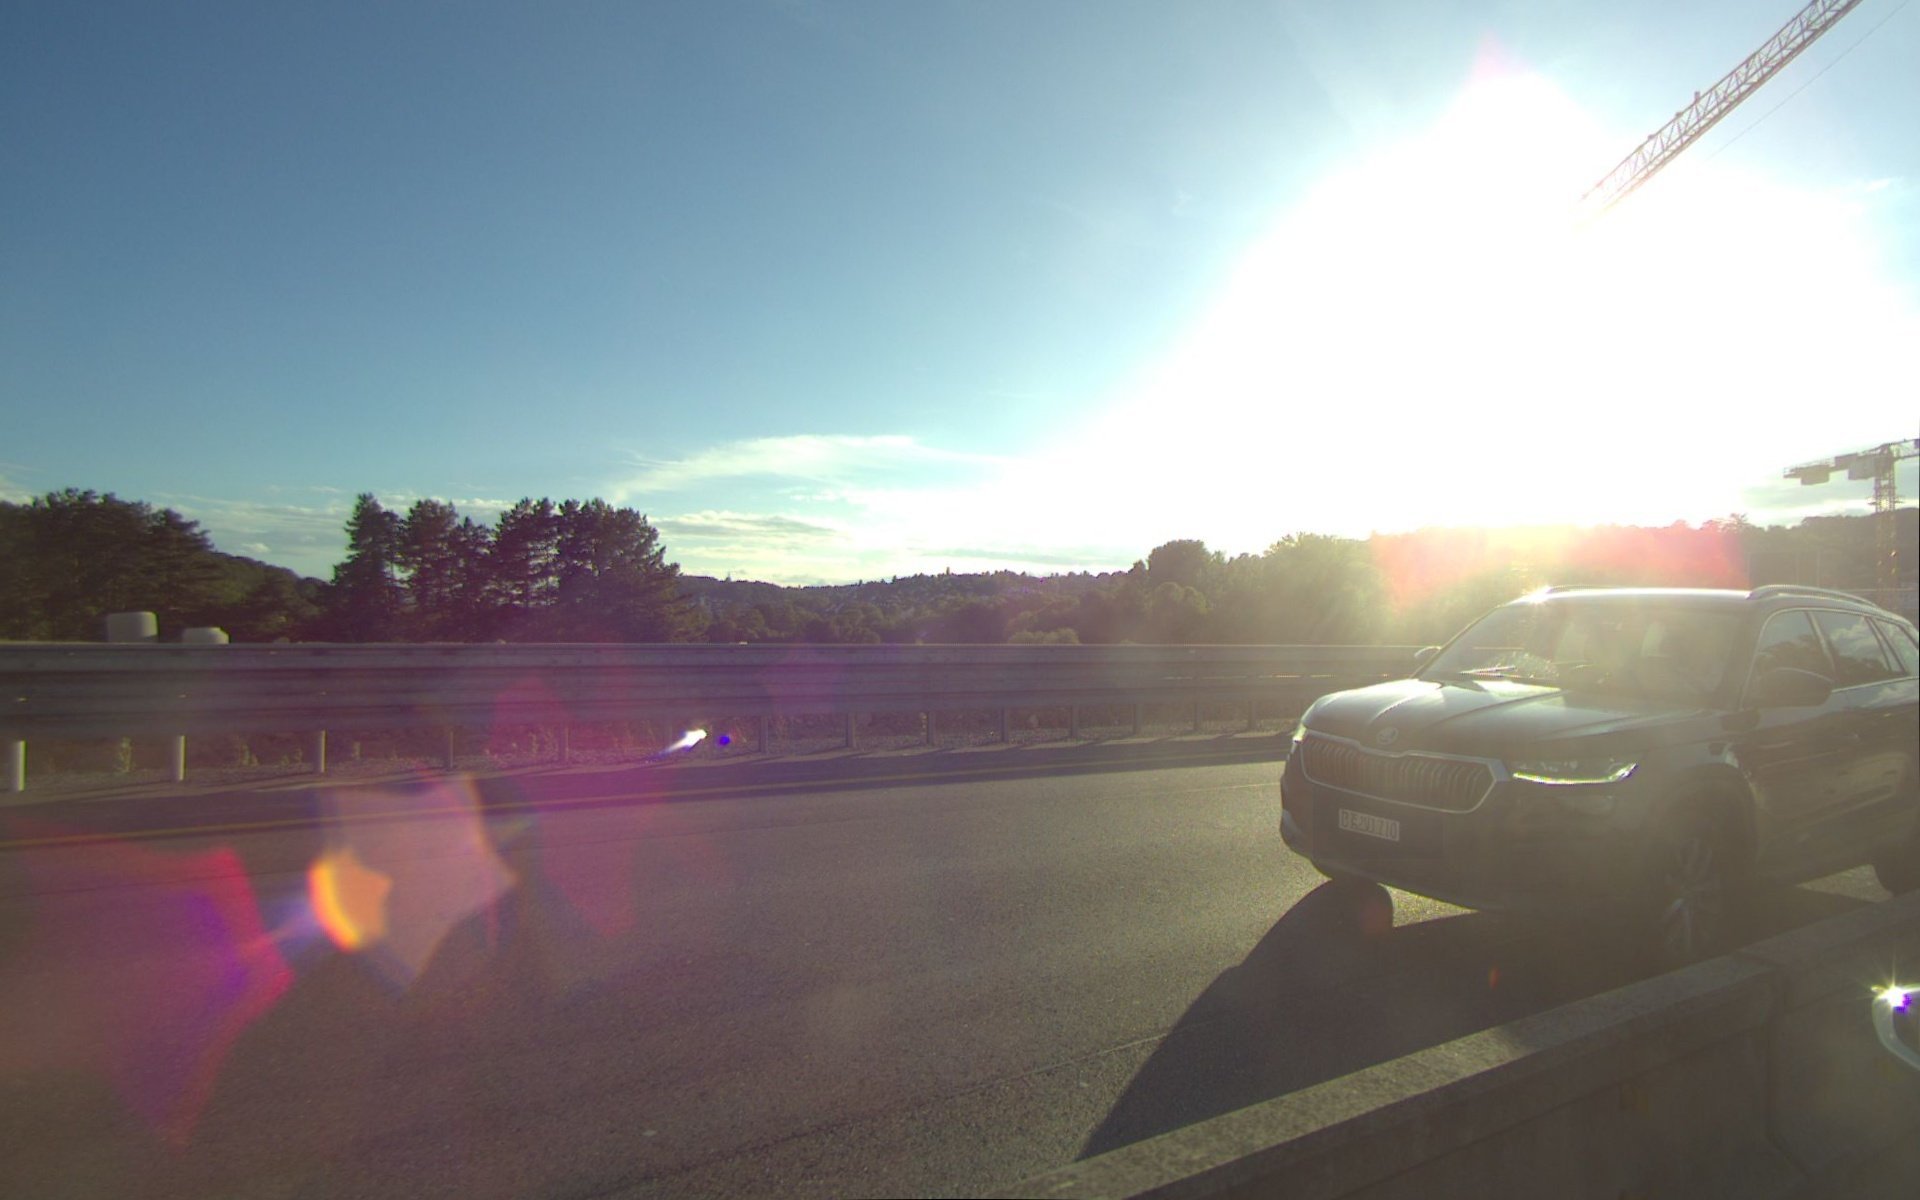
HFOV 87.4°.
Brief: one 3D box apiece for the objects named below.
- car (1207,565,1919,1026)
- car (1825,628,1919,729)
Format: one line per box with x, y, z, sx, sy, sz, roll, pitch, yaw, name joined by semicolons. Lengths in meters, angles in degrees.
3.752;0.752;5.618;4.458;1.666;1.984;2;0;-30;car
15.586;1.199;15.914;3.953;1.465;1.693;1;-1;-31;car
